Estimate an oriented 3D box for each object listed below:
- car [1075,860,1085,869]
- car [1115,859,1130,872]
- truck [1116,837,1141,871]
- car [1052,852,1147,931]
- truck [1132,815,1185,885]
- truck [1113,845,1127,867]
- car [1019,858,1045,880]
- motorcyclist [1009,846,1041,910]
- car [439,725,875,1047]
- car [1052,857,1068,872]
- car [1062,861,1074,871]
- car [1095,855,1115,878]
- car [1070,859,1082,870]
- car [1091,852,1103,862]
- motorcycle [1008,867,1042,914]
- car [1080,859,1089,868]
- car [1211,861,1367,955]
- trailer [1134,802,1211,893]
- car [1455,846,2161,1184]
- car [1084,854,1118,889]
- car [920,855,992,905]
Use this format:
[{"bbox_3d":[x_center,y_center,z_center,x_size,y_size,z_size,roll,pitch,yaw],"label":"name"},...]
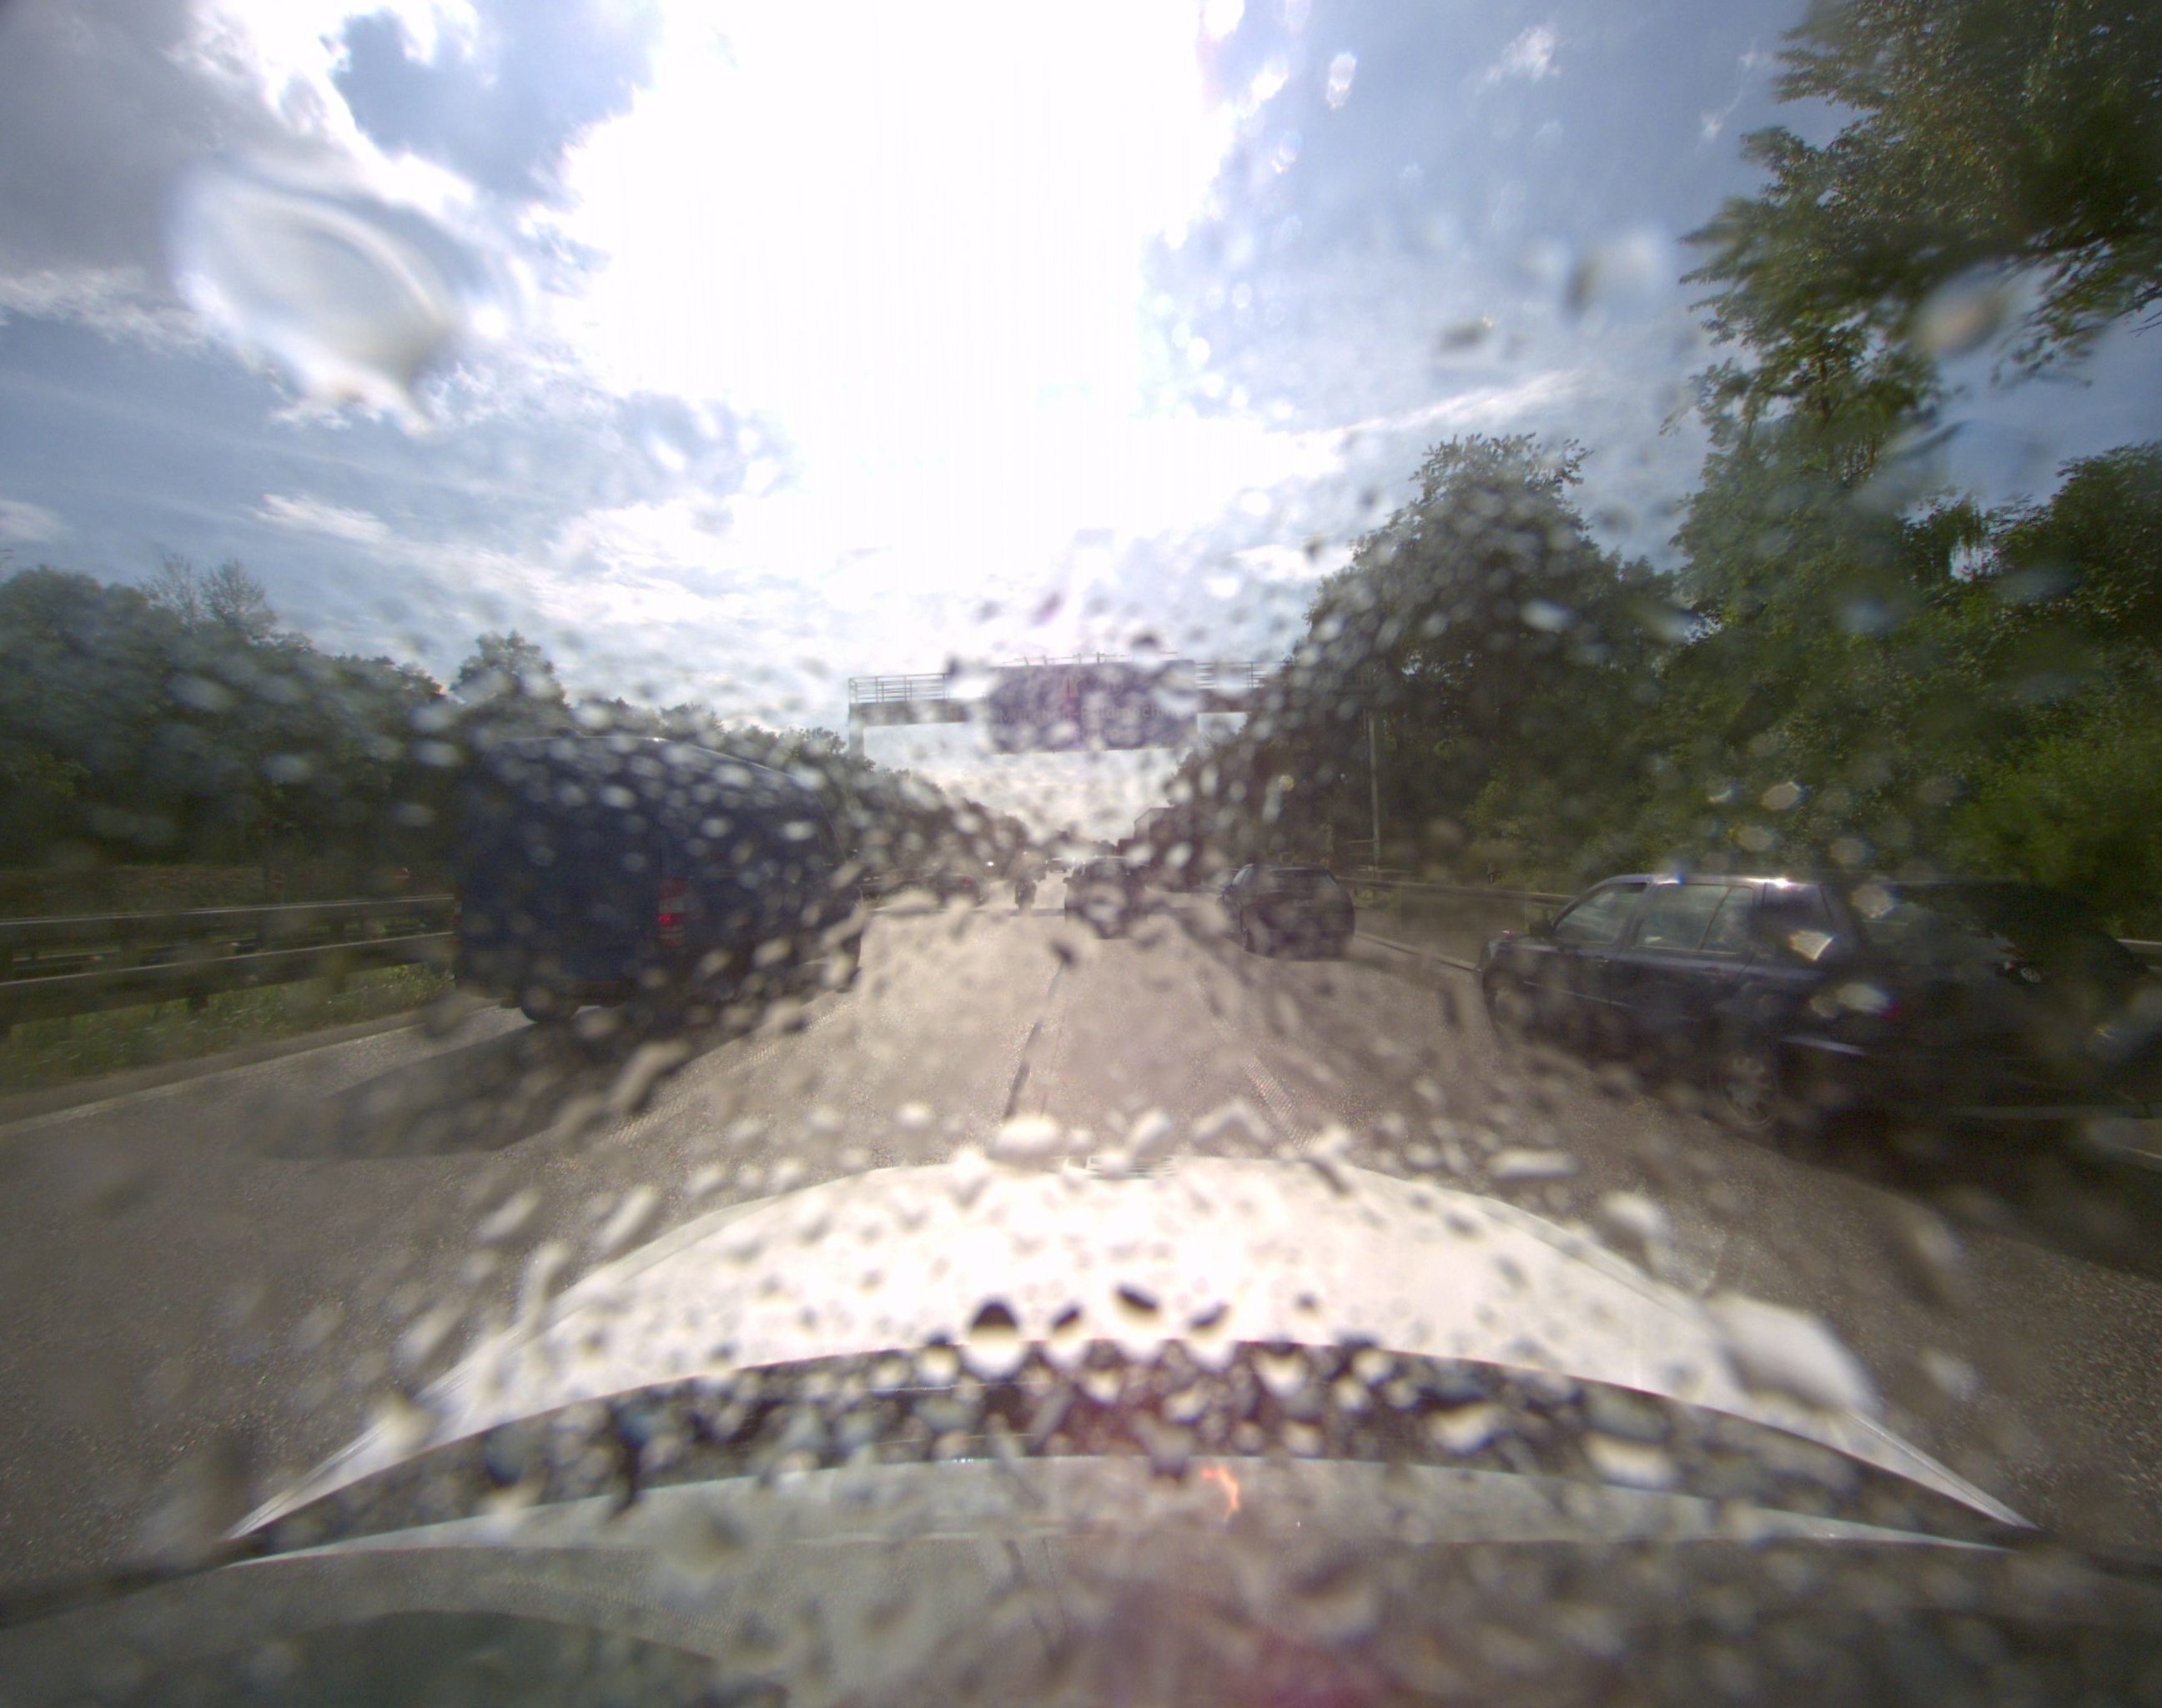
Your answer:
[{"bbox_3d":[-0.279,2.256,172.628,1.986,2.014,4.001,-1,-1,1],"label":"car"},{"bbox_3d":[4.870,1.344,95.476,1.669,1.490,3.437,-1,-1,1],"label":"car"},{"bbox_3d":[6.541,0.035,113.512,3.190,4.404,9.436,-1,-1,2],"label":"truck"},{"bbox_3d":[0.423,0.776,18.696,1.908,1.565,4.314,-1,0,1],"label":"car"},{"bbox_3d":[5.030,-0.229,53.611,3.041,4.325,5.888,-1,0,1],"label":"truck"},{"bbox_3d":[8.632,0.470,180.612,2.871,4.688,12.662,-1,-1,2],"label":"truck"},{"bbox_3d":[-3.753,1.123,62.730,1.888,1.628,4.192,-1,0,-2],"label":"car"},{"bbox_3d":[-1.586,0.682,23.232,0.818,1.761,1.390,-1,-1,0],"label":"motorcyclist"},{"bbox_3d":[-4.247,0.274,9.635,2.008,2.648,5.778,-1,0,1],"label":"car"},{"bbox_3d":[-2.376,1.179,92.609,1.669,1.597,3.437,-1,-1,1],"label":"car"},{"bbox_3d":[-1.987,1.814,124.705,1.669,1.490,3.437,-1,-1,1],"label":"car"},{"bbox_3d":[2.024,1.086,70.133,1.669,1.936,3.774,-1,-1,1],"label":"car"},{"bbox_3d":[-0.869,1.955,149.820,1.986,2.014,4.001,-1,-1,1],"label":"car"},{"bbox_3d":[2.289,0.430,115.510,1.626,1.490,3.437,-1,-1,1],"label":"car"},{"bbox_3d":[-1.583,1.014,23.239,0.817,1.263,2.117,-1,0,0],"label":"motorcycle"},{"bbox_3d":[0.929,2.297,195.121,1.986,2.014,4.001,-1,-1,1],"label":"car"},{"bbox_3d":[3.516,0.845,14.590,1.748,1.396,4.369,-1,0,1],"label":"car"},{"bbox_3d":[4.874,-0.262,46.334,3.077,4.312,14.107,-1,0,1],"label":"trailer"},{"bbox_3d":[4.200,0.719,5.464,1.645,1.456,3.744,-1,-1,0],"label":"car"},{"bbox_3d":[1.231,1.069,50.117,1.986,2.014,4.000,-1,-1,1],"label":"car"},{"bbox_3d":[-4.264,0.846,28.427,1.752,1.595,4.331,-1,0,1],"label":"car"}]
